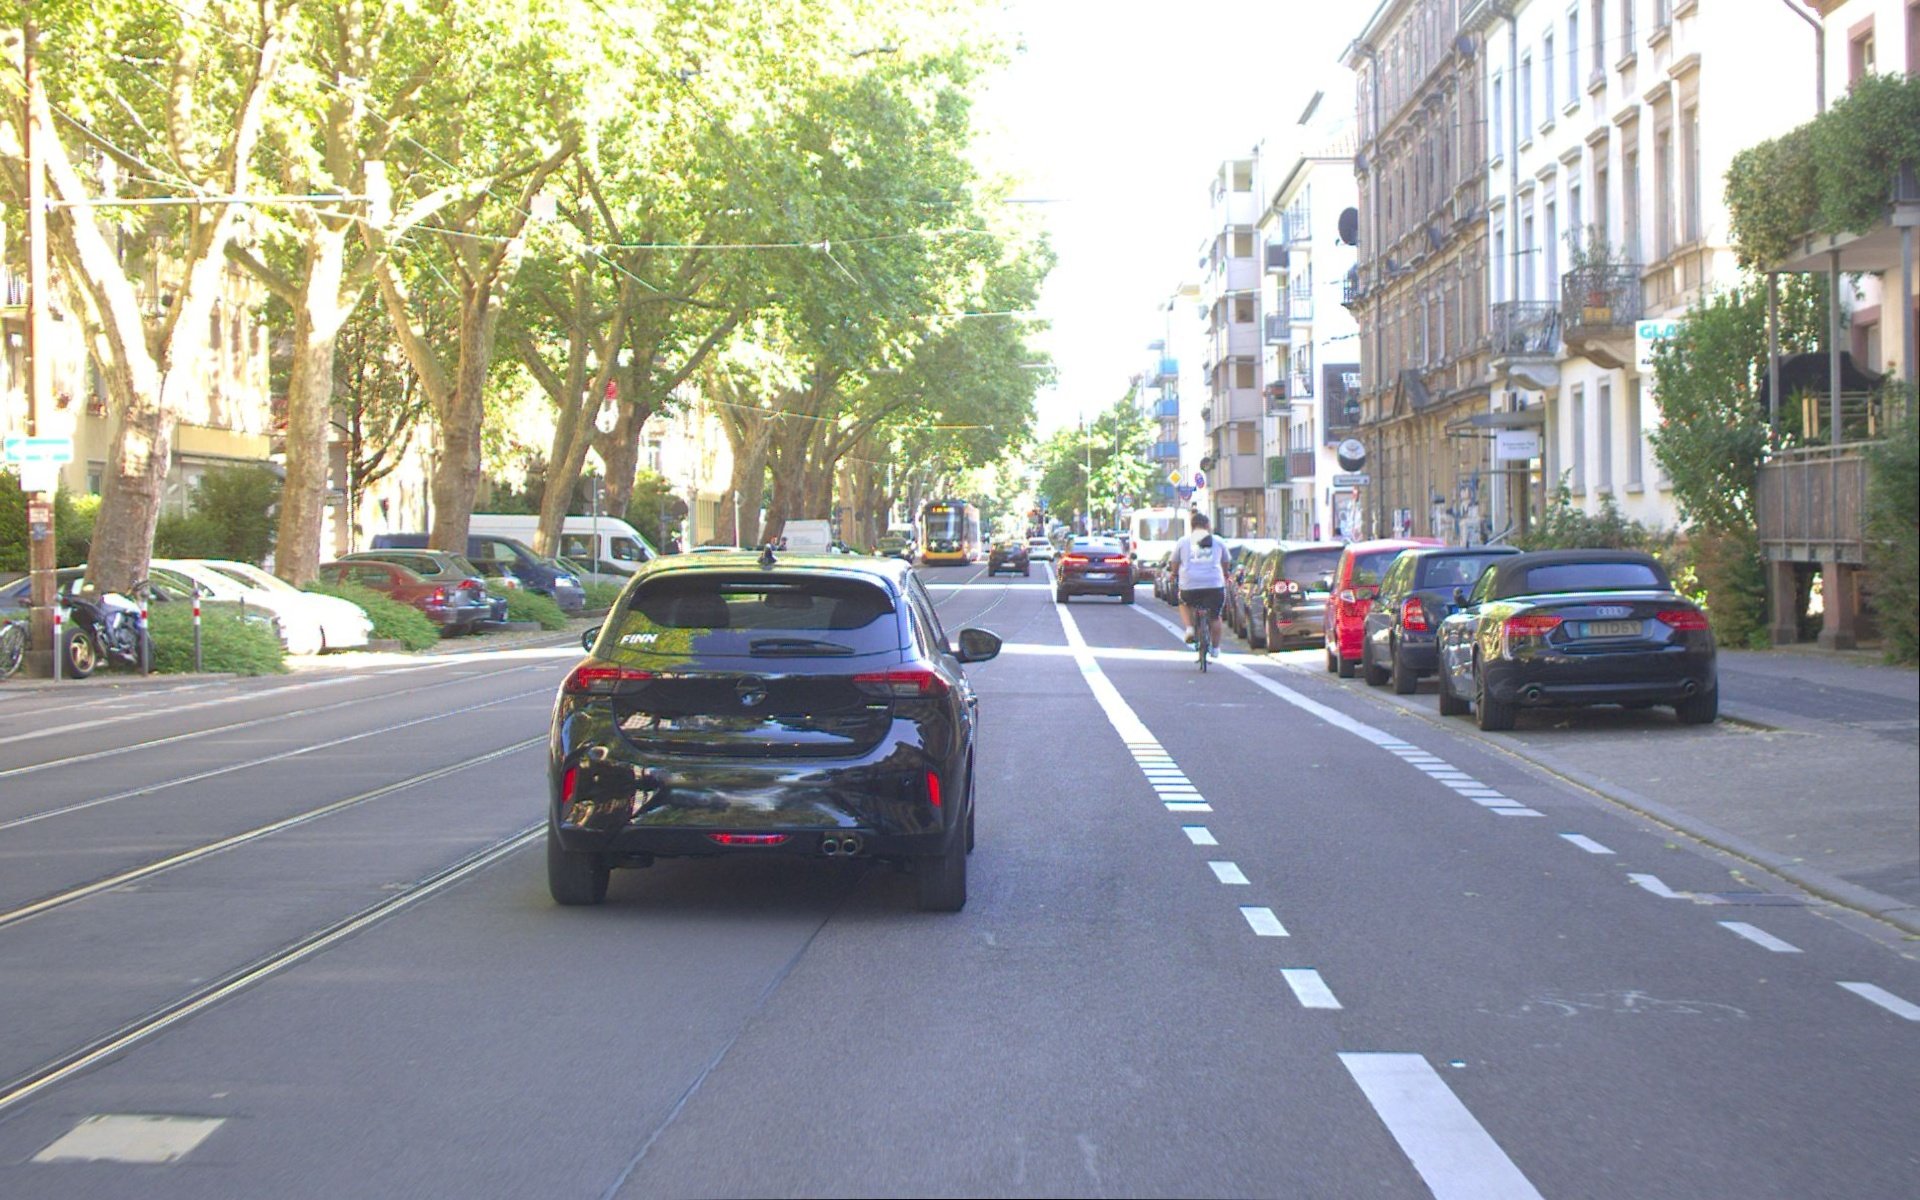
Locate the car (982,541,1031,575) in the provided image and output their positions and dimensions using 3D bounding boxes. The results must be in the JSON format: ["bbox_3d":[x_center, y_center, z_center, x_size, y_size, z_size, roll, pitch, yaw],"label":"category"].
[{"bbox_3d":[1.886,-1.678,138.537,1.810,1.334,3.933,0,1,3],"label":"car"}]

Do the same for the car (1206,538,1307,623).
[{"bbox_3d":[5.728,-0.400,66.672,1.711,1.478,3.763,-4,1,3],"label":"car"}]

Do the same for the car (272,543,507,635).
[{"bbox_3d":[-10.561,-0.214,63.801,3.995,1.621,1.879,1,1,2],"label":"car"}]

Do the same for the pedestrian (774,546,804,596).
[{"bbox_3d":[-5.451,-0.927,109.630,0.766,1.561,0.681,-1,1,-22],"label":"pedestrian"}]

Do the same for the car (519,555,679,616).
[{"bbox_3d":[-9.231,-0.388,88.080,3.920,1.493,1.677,1,1,0],"label":"car"}]

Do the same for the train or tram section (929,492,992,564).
[{"bbox_3d":[0.080,-3.857,185.411,2.735,3.669,12.716,-1,1,3],"label":"train or tram section"}]

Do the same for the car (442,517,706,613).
[{"bbox_3d":[-10.147,-0.933,90.723,6.628,2.401,2.458,1,1,2],"label":"car"}]

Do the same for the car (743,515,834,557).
[{"bbox_3d":[-7.572,-2.819,152.047,3.920,1.784,1.677,1,1,-1],"label":"car"}]

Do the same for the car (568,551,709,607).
[{"bbox_3d":[-9.315,-0.617,99.782,3.920,1.572,1.677,1,1,-1],"label":"car"}]

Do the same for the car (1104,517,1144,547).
[{"bbox_3d":[8.026,-3.308,168.331,1.810,1.333,3.933,-4,1,3],"label":"car"}]

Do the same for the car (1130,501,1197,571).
[{"bbox_3d":[6.955,-2.181,117.978,2.076,2.211,4.933,-4,1,3],"label":"car"}]

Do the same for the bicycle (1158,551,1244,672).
[{"bbox_3d":[2.872,0.121,41.243,0.860,1.402,2.524,0,1,0],"label":"bicycle"}]

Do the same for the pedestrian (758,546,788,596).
[{"bbox_3d":[-5.918,-0.911,108.700,0.766,1.561,0.681,-1,1,-22],"label":"pedestrian"}]

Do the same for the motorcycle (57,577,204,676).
[{"bbox_3d":[-10.107,0.304,41.984,0.885,1.143,2.390,0,1,9],"label":"motorcycle"}]

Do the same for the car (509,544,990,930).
[{"bbox_3d":[-0.792,0.498,14.940,1.794,1.436,3.531,0,2,1],"label":"car"}]

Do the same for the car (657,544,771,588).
[{"bbox_3d":[-8.677,-1.220,121.674,3.920,1.493,1.677,1,1,-1],"label":"car"}]

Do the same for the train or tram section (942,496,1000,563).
[{"bbox_3d":[0.667,-4.018,198.040,2.735,3.669,12.716,-1,1,3],"label":"train or tram section"}]

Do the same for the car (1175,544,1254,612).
[{"bbox_3d":[5.972,-0.530,80.411,1.705,1.451,3.696,-4,1,5],"label":"car"}]

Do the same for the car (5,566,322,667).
[{"bbox_3d":[-10.993,0.214,47.631,3.920,1.327,1.847,1,1,2],"label":"car"}]

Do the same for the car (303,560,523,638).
[{"bbox_3d":[-10.511,-0.032,66.206,3.920,1.417,1.819,1,1,0],"label":"car"}]

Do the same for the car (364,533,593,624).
[{"bbox_3d":[-10.556,-0.476,75.637,4.675,1.917,1.980,1,1,3],"label":"car"}]

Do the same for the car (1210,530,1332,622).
[{"bbox_3d":[5.451,-0.439,60.705,1.880,1.451,4.025,-4,1,3],"label":"car"}]

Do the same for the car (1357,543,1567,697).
[{"bbox_3d":[5.117,0.172,35.449,1.651,1.451,3.868,-2,1,2],"label":"car"}]

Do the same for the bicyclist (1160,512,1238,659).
[{"bbox_3d":[2.862,-0.179,41.281,0.848,1.734,1.162,0,1,0],"label":"bicyclist"}]

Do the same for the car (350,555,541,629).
[{"bbox_3d":[-10.867,-0.173,72.719,3.734,1.493,1.746,1,1,2],"label":"car"}]

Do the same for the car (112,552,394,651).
[{"bbox_3d":[-10.870,0.011,53.015,3.920,1.457,1.805,-1,1,2],"label":"car"}]

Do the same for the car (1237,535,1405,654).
[{"bbox_3d":[5.347,-0.099,51.307,1.880,1.580,3.933,-4,1,-2],"label":"car"}]

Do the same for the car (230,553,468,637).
[{"bbox_3d":[-10.930,-0.095,61.655,3.920,1.437,1.749,1,1,2],"label":"car"}]

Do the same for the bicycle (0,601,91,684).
[{"bbox_3d":[-11.241,0.507,41.803,0.541,0.937,2.033,0,1,9],"label":"bicycle"}]

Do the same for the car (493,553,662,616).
[{"bbox_3d":[-9.450,-0.390,85.147,3.920,1.493,1.677,1,1,3],"label":"car"}]

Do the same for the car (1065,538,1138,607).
[{"bbox_3d":[3.683,-0.729,89.092,1.810,1.736,3.933,-1,1,3],"label":"car"}]

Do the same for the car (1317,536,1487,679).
[{"bbox_3d":[5.092,0.054,39.971,1.634,1.541,3.575,-2,1,3],"label":"car"}]

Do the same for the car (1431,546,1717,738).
[{"bbox_3d":[4.926,0.285,28.109,1.694,1.388,4.494,-2,1,3],"label":"car"}]

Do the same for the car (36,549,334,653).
[{"bbox_3d":[-11.288,0.005,50.234,3.921,1.448,1.800,-1,1,2],"label":"car"}]
